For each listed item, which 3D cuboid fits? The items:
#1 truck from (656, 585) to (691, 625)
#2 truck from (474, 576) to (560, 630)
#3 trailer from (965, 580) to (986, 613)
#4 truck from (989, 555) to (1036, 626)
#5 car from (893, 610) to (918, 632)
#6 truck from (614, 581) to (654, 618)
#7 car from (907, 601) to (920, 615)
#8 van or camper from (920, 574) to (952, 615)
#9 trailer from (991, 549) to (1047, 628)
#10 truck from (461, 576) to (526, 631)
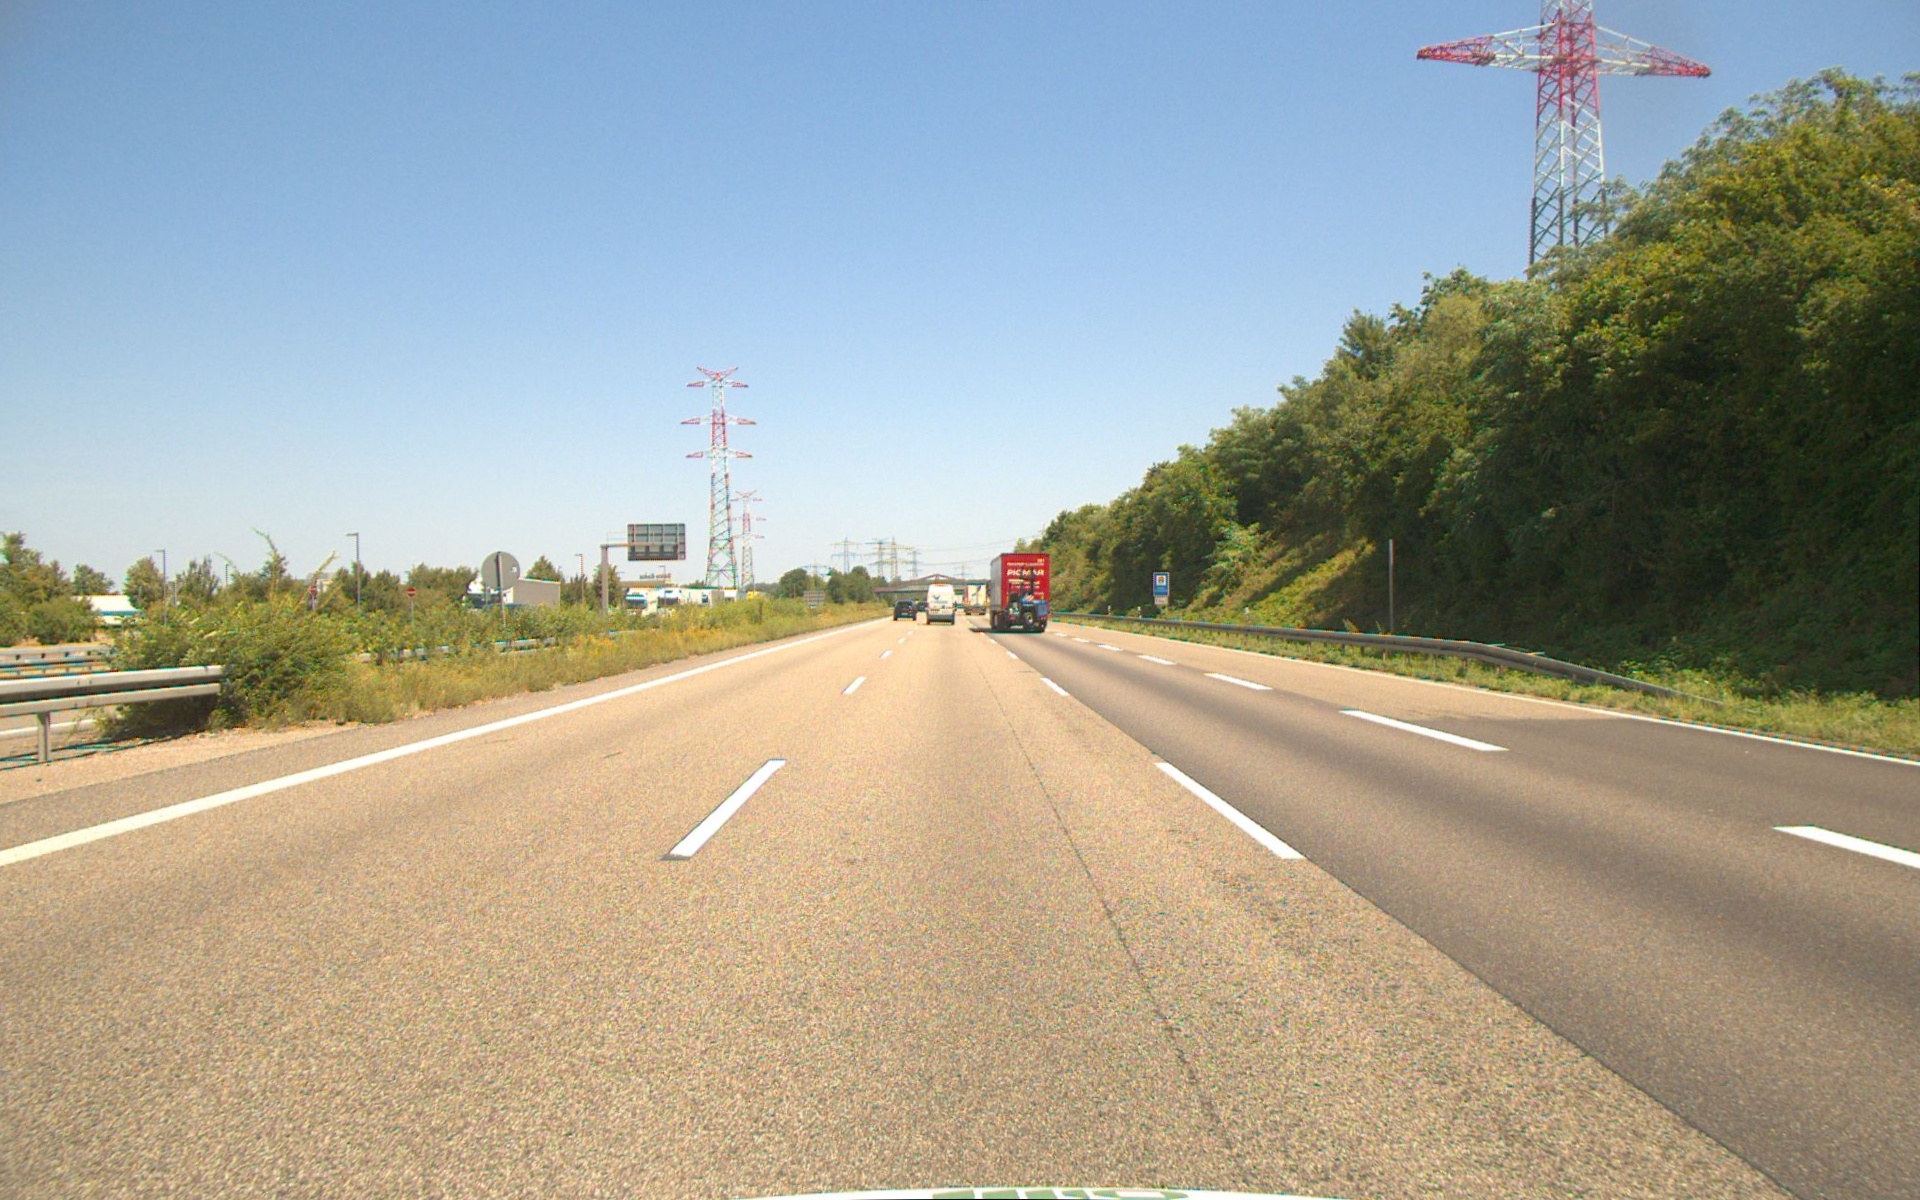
[{"bbox_3d":[-31.428,0.530,181.959,2.529,4.262,7.935,0,0,-1],"label":"truck"},{"bbox_3d":[-32.462,0.268,121.842,2.742,3.707,13.604,1,0,-1],"label":"truck"},{"bbox_3d":[2.047,-0.451,218.682,2.583,4.131,12.366,1,0,1],"label":"trailer"},{"bbox_3d":[3.004,-0.518,96.931,2.448,3.988,7.095,0,0,-1],"label":"truck"},{"bbox_3d":[-4.727,1.802,144.304,1.941,1.849,3.813,1,0,2],"label":"car"},{"bbox_3d":[-38.193,-0.058,194.097,3.032,4.225,8.315,1,0,-1],"label":"truck"},{"bbox_3d":[-7.183,1.215,256.430,1.931,2.047,4.196,1,0,-1],"label":"car"},{"bbox_3d":[-1.671,-0.369,117.800,2.184,2.831,5.422,1,0,0],"label":"van or camper"},{"bbox_3d":[3.082,-0.539,89.946,2.439,3.978,14.243,0,0,-1],"label":"trailer"},{"bbox_3d":[-32.398,0.254,115.037,2.742,3.707,6.145,1,0,-1],"label":"truck"}]
